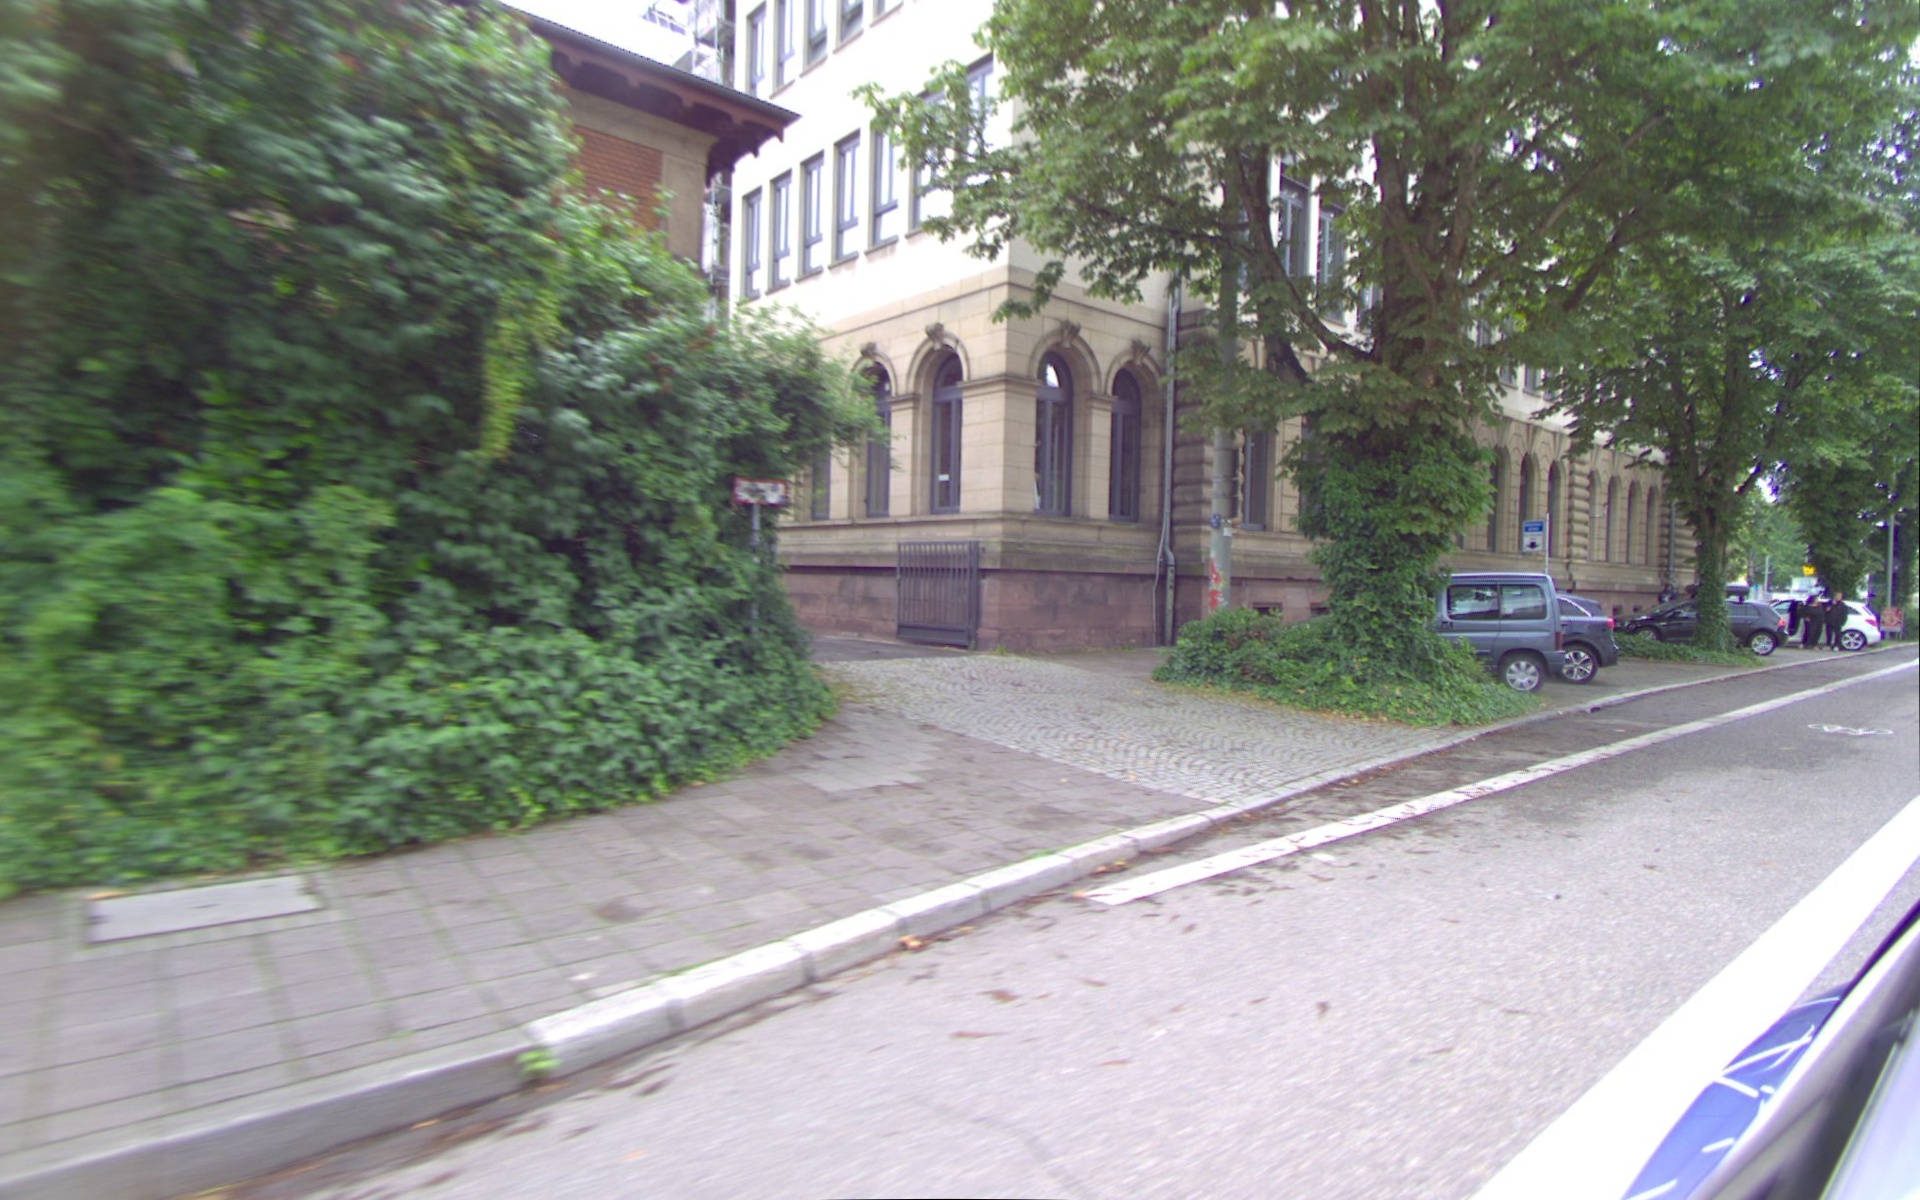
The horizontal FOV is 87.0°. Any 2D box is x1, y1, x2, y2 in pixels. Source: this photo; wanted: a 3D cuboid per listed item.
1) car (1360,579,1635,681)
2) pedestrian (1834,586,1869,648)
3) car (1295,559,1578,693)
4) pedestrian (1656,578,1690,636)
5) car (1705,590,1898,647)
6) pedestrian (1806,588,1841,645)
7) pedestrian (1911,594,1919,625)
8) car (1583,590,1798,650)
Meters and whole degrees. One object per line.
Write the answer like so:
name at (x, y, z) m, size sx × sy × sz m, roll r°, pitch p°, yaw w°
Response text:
car at (9.385, 0.465, 18.032) m, size 3.943 × 1.558 × 1.856 m, roll 2°, pitch 1°, yaw 16°
pedestrian at (26.283, 0.487, 29.838) m, size 0.608 × 1.772 × 0.680 m, roll 1°, pitch 0°, yaw 28°
car at (7.305, 0.335, 15.961) m, size 3.791 × 1.843 × 1.796 m, roll 2°, pitch 1°, yaw 20°
pedestrian at (23.790, 0.221, 33.764) m, size 0.738 × 1.861 × 0.680 m, roll 1°, pitch 3°, yaw -40°
car at (26.024, 0.530, 31.498) m, size 4.286 × 1.571 × 1.733 m, roll 2°, pitch 1°, yaw 28°
pedestrian at (25.546, 0.475, 29.956) m, size 0.638 × 1.646 × 0.586 m, roll 1°, pitch 0°, yaw 27°
pedestrian at (54.377, 0.562, 57.109) m, size 0.912 × 1.730 × 1.142 m, roll 1°, pitch 1°, yaw 38°
car at (19.447, 0.497, 27.160) m, size 4.273 × 1.420 × 1.745 m, roll 2°, pitch 1°, yaw 18°
